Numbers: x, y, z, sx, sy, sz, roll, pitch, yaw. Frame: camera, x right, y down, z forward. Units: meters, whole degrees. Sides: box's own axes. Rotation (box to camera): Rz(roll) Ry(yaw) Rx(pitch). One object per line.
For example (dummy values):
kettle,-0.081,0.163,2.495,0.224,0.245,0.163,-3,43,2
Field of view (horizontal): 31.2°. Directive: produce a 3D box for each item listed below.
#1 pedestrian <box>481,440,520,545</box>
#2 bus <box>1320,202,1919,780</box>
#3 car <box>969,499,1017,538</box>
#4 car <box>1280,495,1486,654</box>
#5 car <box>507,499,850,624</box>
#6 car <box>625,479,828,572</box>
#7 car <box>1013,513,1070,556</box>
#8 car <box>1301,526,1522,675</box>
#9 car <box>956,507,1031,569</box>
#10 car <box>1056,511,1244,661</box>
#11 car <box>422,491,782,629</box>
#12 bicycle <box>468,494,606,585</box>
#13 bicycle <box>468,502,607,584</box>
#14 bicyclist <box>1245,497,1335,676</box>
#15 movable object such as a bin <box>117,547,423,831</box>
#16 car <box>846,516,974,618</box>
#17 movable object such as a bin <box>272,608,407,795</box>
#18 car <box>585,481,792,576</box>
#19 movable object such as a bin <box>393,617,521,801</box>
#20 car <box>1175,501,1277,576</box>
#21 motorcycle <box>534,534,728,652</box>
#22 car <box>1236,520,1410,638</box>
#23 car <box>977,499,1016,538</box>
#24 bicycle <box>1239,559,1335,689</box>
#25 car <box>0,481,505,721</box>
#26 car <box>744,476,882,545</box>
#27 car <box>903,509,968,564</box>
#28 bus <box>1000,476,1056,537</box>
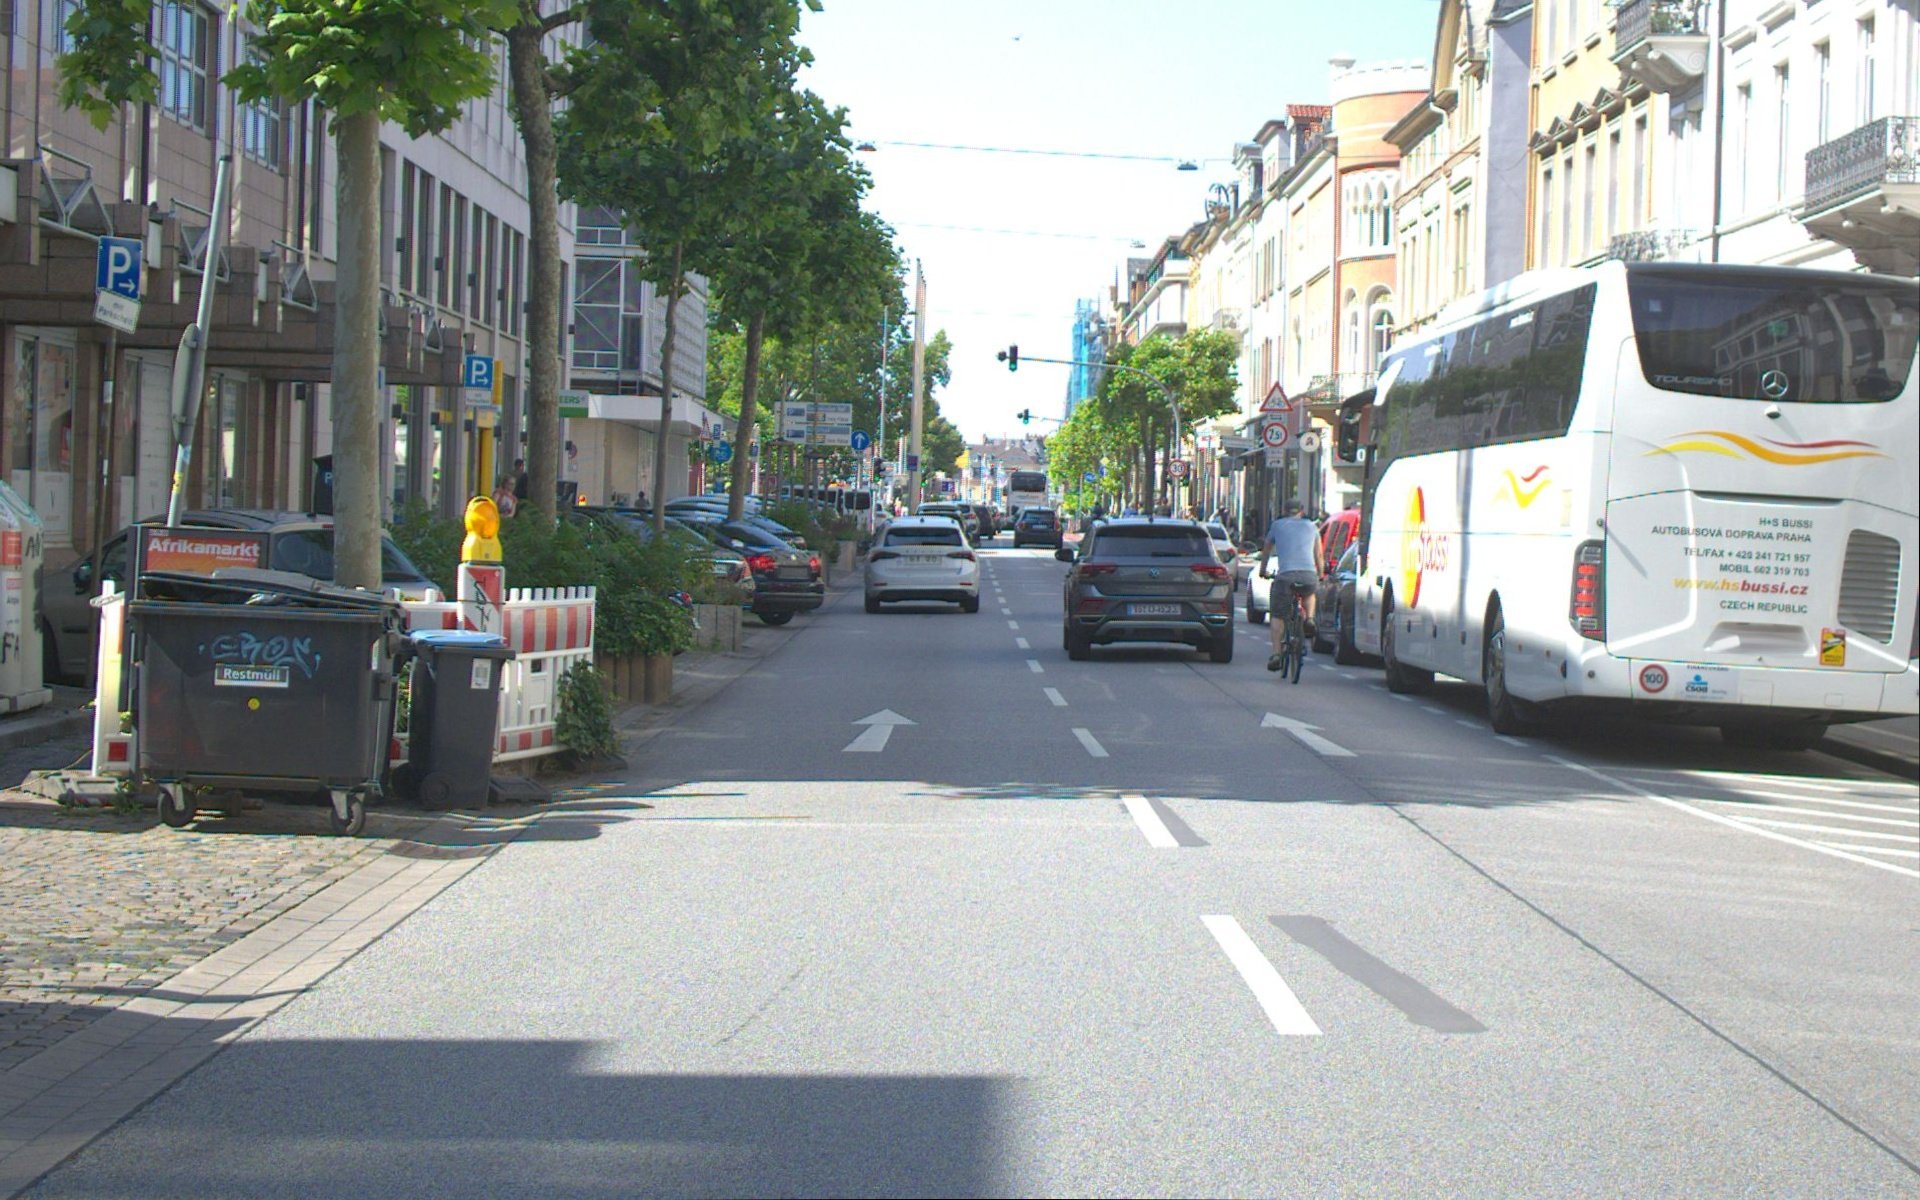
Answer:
pedestrian,-7.331,-1.723,54.874,0.565,1.651,0.637,1,2,-6
bus,5.383,-0.881,29.355,2.881,3.729,12.428,4,1,-1
car,1.341,-3.330,140.509,1.863,1.436,4.000,1,0,0
car,5.504,-0.382,45.291,1.827,1.857,4.355,3,2,-3
car,-3.975,-0.549,47.989,4.793,1.417,1.879,5,3,40
car,-5.150,-1.645,75.725,3.993,1.563,1.697,7,2,25
car,2.893,-2.351,122.294,1.863,1.436,4.000,2,2,0
car,5.137,-0.051,39.761,1.859,1.464,5.225,4,2,1
car,0.791,-1.541,84.374,1.743,1.436,4.000,2,2,0
car,2.058,-0.196,38.253,1.833,1.522,4.000,2,1,0
car,-4.740,-0.543,45.018,4.754,1.528,1.985,4,2,43
bicycle,-6.695,-0.959,54.424,2.064,1.284,0.368,4,1,-7
bicycle,-6.599,-0.890,53.736,2.064,1.126,0.464,4,1,-7
bicyclist,3.231,-0.144,33.717,0.694,1.667,0.916,4,2,1
movable object such as a bin,-3.349,0.418,16.785,1.277,1.295,0.853,2,1,0
car,-0.750,-0.548,54.069,1.863,1.436,4.000,2,2,1
movable object such as a bin,-3.258,0.523,18.071,0.499,0.936,0.555,1,2,17
car,-5.456,-1.450,69.337,3.986,1.495,1.718,6,1,-4
movable object such as a bin,-2.680,0.571,18.314,0.553,0.936,0.501,-1,2,-26
car,5.646,-1.297,73.307,1.833,1.522,4.000,0,0,0
motorcycle,-3.558,-0.087,37.161,1.912,1.166,0.759,3,2,21
car,5.300,-0.349,50.754,1.813,1.461,4.581,3,2,-2
car,1.848,-4.104,173.575,1.863,1.843,4.000,1,0,0
bicycle,3.173,0.214,33.545,0.664,1.116,2.243,4,2,0
car,-5.470,-0.043,25.449,4.055,1.489,1.931,5,3,41
car,-5.264,-3.213,122.904,4.721,1.996,1.937,7,1,40
car,-0.687,-1.795,95.899,1.743,1.436,4.000,2,2,0
bus,4.148,-5.746,211.402,2.770,3.592,8.975,1,2,-3
